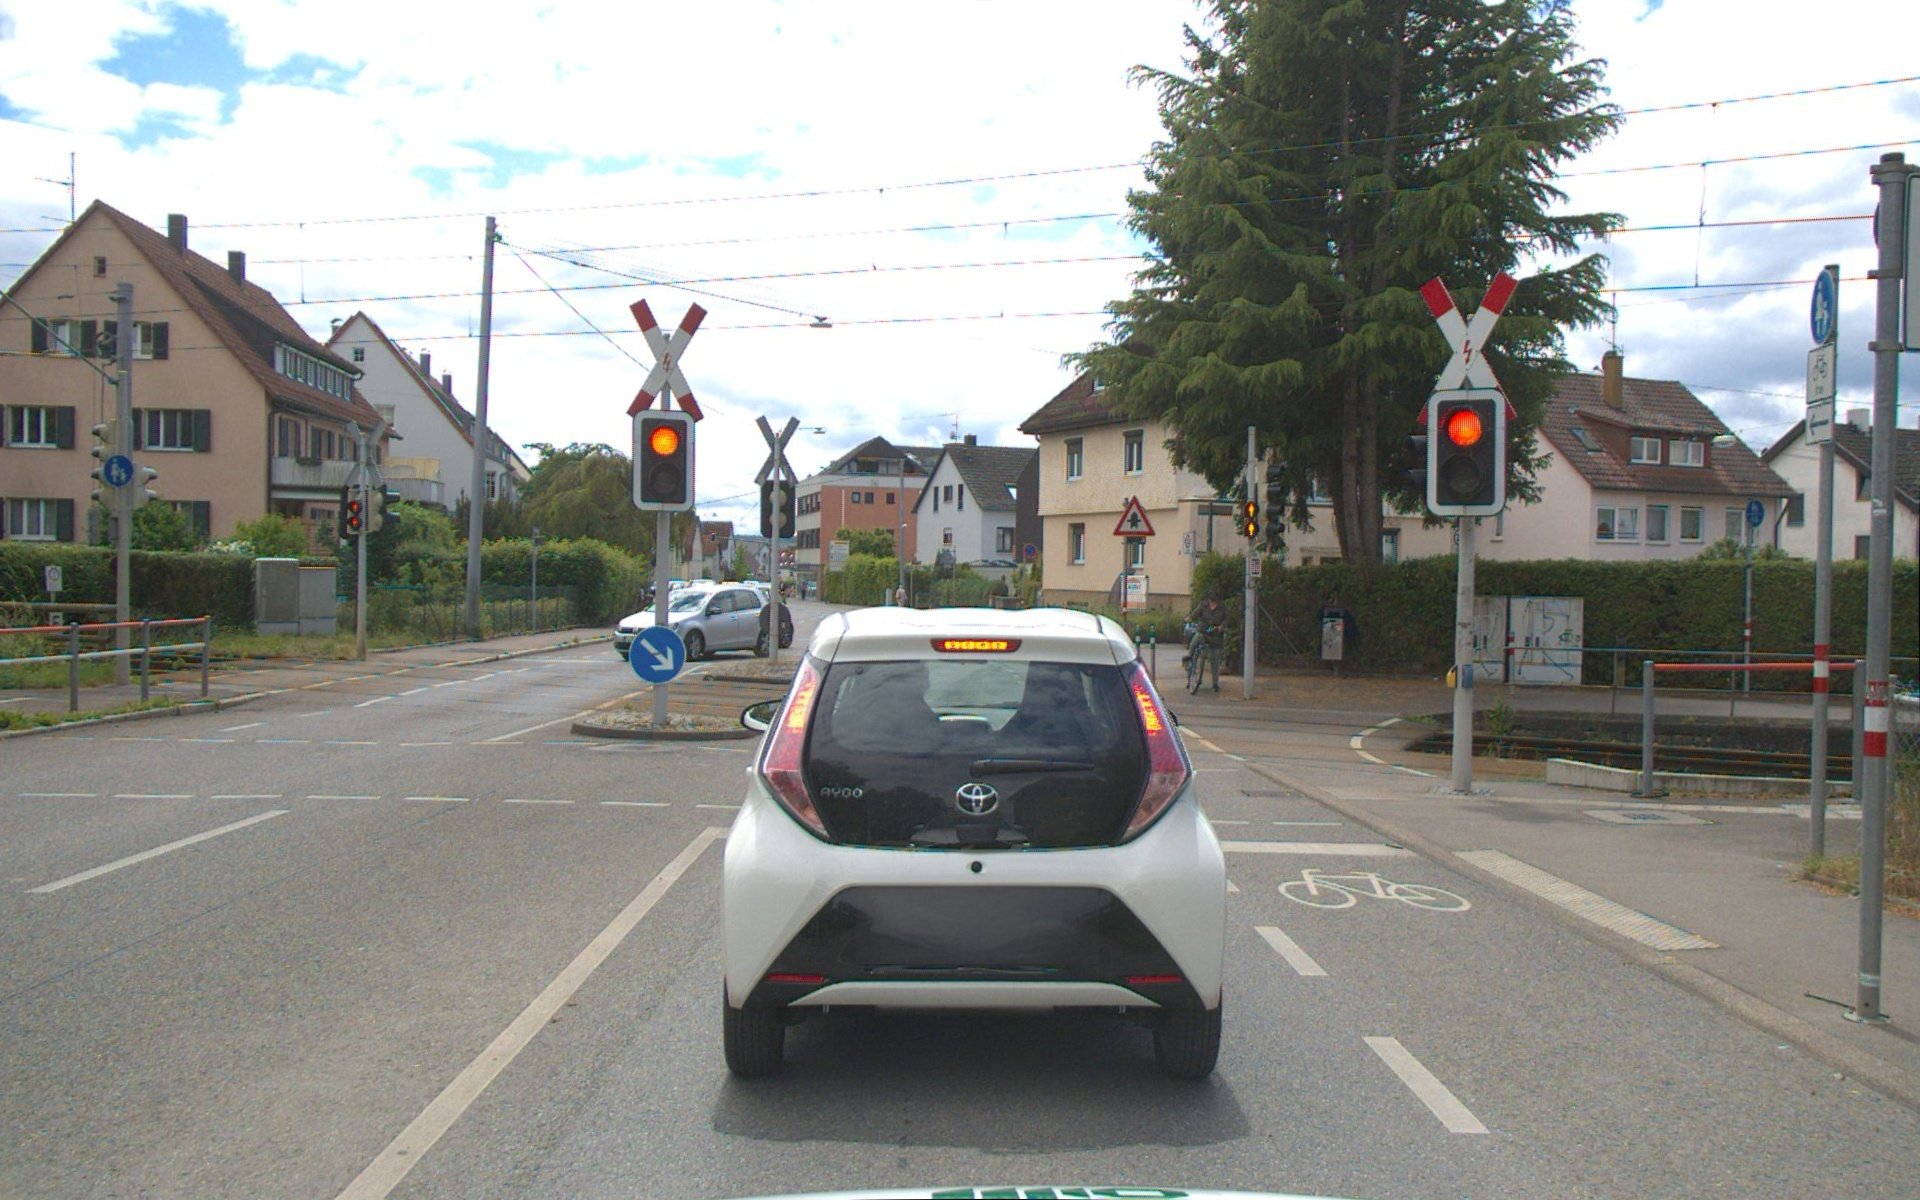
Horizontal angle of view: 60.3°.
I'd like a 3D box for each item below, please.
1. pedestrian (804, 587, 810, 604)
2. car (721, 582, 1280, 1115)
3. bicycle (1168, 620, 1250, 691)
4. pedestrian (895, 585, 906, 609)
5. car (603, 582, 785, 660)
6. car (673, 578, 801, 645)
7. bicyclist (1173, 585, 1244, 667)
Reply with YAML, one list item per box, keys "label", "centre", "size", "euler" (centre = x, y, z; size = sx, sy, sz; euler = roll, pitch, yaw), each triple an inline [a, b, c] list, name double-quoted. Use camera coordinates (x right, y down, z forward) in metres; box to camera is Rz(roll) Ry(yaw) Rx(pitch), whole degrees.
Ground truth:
- label: "pedestrian"
  centre: [-13.301, -0.377, 143.804]
  size: [0.406, 1.463, 0.436]
  euler: [1, 0, -11]
- label: "car"
  centre: [0.092, 0.722, 6.730]
  size: [1.588, 1.512, 3.999]
  euler: [1, 0, -1]
- label: "bicycle"
  centre: [3.988, 0.861, 26.388]
  size: [0.912, 1.058, 1.915]
  euler: [0, 0, 20]
- label: "pedestrian"
  centre: [-3.590, -0.181, 99.714]
  size: [0.406, 1.463, 0.436]
  euler: [2, 1, 36]
- label: "car"
  centre: [-5.448, 0.438, 34.358]
  size: [1.655, 1.484, 4.065]
  euler: [1, 0, 26]
- label: "car"
  centre: [-5.437, 0.291, 40.502]
  size: [1.551, 1.536, 2.772]
  euler: [1, 0, 41]
- label: "bicyclist"
  centre: [3.955, 0.405, 26.297]
  size: [0.912, 1.269, 1.102]
  euler: [0, 0, 21]
